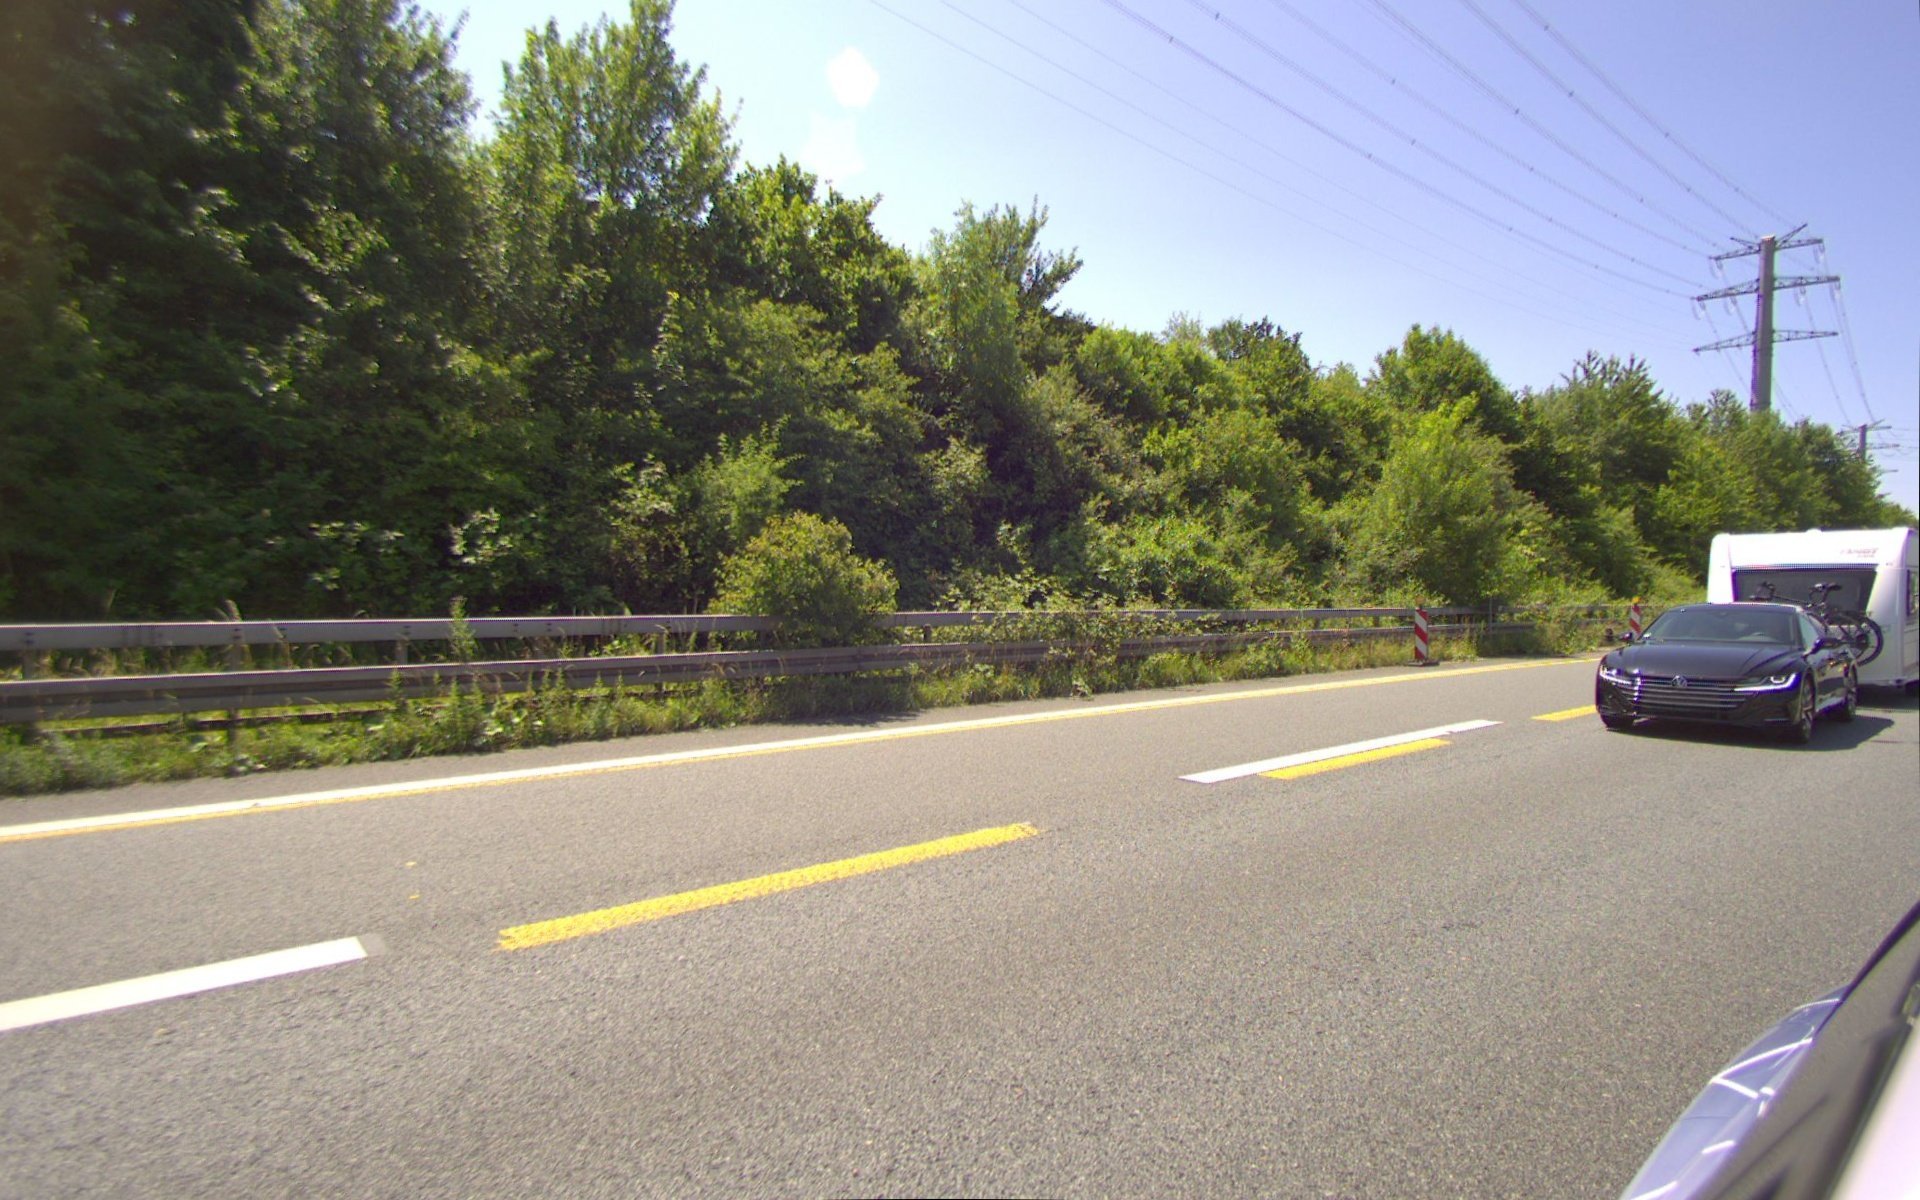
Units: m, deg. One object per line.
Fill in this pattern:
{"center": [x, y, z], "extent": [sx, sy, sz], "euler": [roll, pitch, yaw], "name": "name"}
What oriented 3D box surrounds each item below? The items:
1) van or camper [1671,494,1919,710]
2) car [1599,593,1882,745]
{"center": [13.736, -0.009, 15.774], "extent": [8.270, 2.597, 2.430], "euler": [0, 0, -41], "name": "van or camper"}
{"center": [9.065, 0.643, 11.635], "extent": [4.136, 1.425, 1.799], "euler": [0, 0, -41], "name": "car"}
